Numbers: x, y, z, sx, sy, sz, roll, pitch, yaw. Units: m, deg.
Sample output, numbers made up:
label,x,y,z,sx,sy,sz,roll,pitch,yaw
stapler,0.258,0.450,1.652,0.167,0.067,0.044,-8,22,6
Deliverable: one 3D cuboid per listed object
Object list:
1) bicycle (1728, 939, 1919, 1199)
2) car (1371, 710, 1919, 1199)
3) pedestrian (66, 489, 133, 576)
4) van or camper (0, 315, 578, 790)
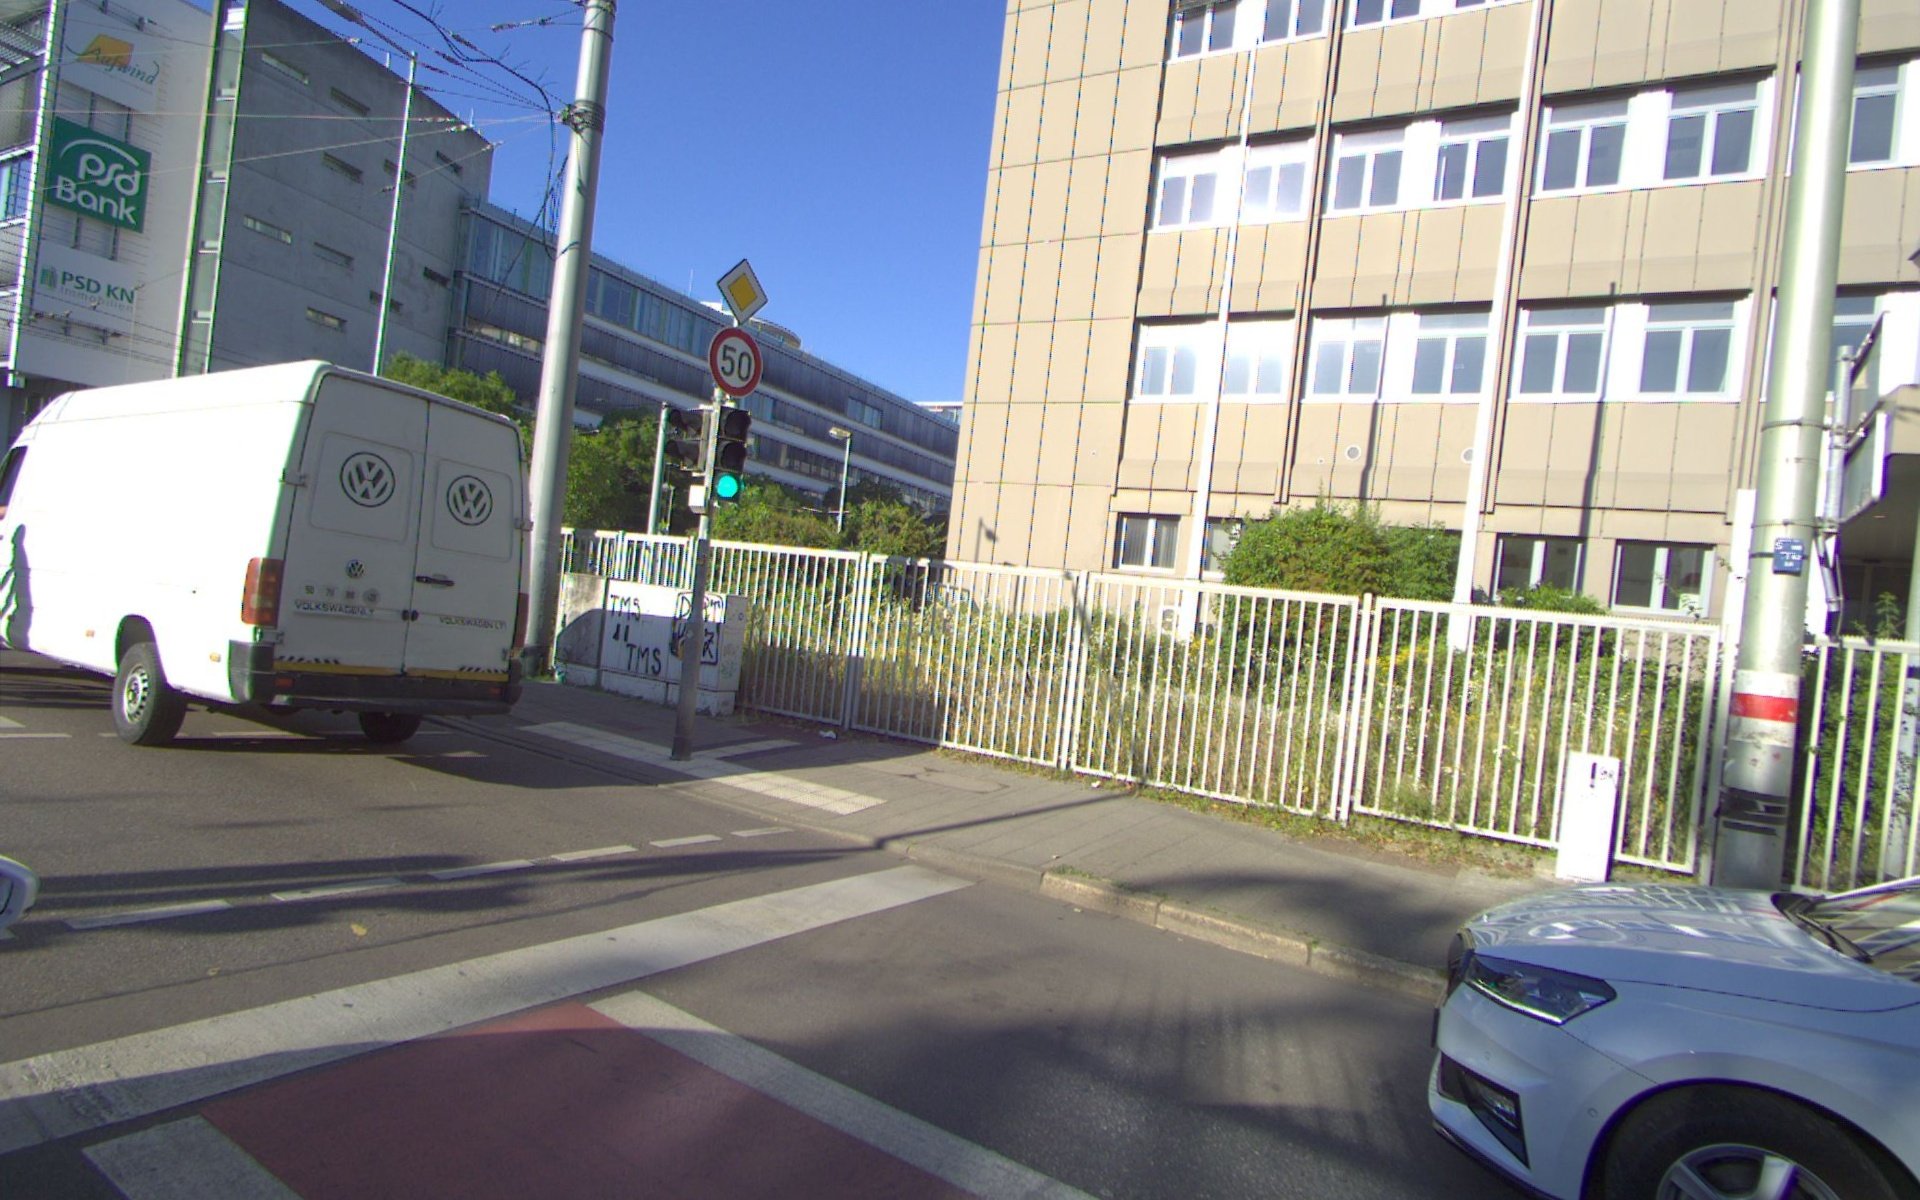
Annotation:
label,x,y,z,sx,sy,sz,roll,pitch,yaw
bicycle,1.908,1.179,0.616,2.269,1.158,0.763,7,0,34
car,3.365,1.285,2.517,4.007,1.405,1.704,7,-1,31
pedestrian,-19.981,-1.570,23.367,1.196,1.846,0.777,7,1,35
van or camper,-6.120,-0.483,8.270,6.200,2.748,1.972,7,-1,32
